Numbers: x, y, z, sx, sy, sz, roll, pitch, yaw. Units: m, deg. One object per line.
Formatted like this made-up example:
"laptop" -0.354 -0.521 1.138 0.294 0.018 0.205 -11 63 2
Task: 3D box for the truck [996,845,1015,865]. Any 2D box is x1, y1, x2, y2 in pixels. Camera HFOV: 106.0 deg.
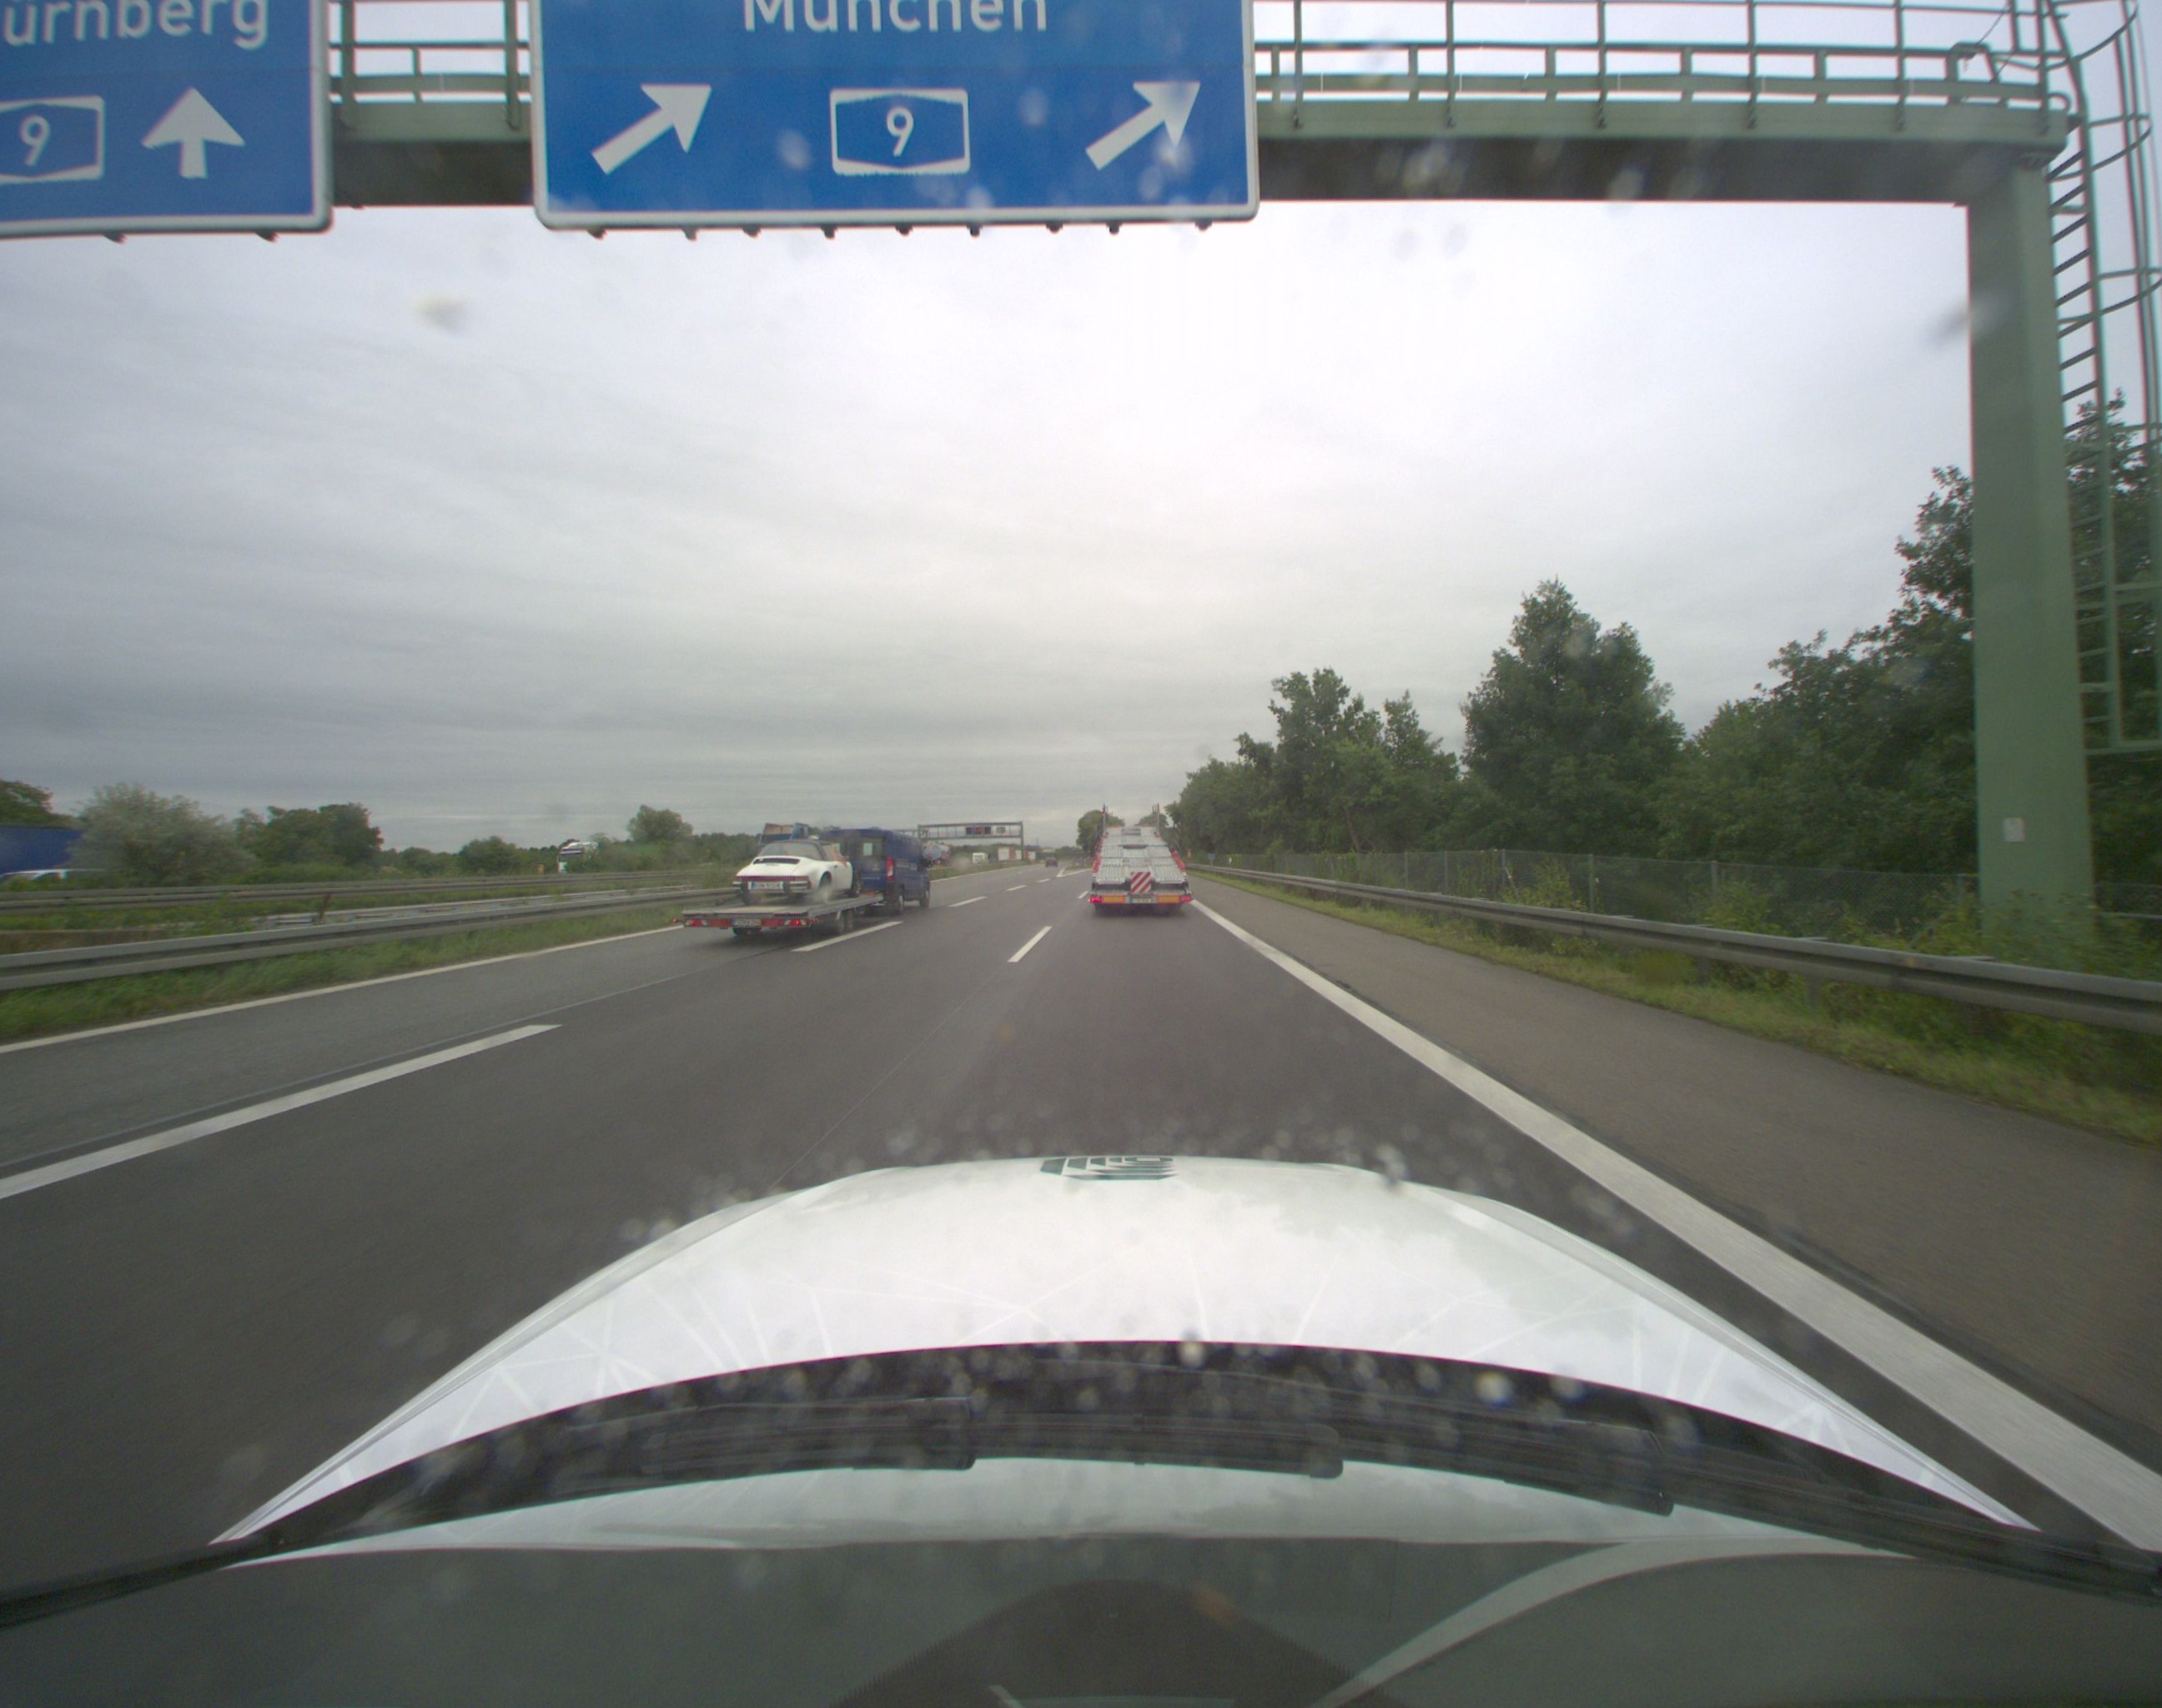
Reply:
"truck" -17.832 0.253 192.833 3.721 4.417 10.193 0 0 0

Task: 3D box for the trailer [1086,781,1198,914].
"trailer" 1.712 -0.155 25.374 2.767 3.285 10.412 0 0 2

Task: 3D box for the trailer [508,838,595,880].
"trailer" -45.769 0.437 70.693 2.951 3.403 7.267 -1 0 -2

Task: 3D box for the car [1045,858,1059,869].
"car" -4.387 1.500 123.235 1.955 1.637 5.624 0 -1 0

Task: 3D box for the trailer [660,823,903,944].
"trailer" -5.752 0.502 17.081 2.477 1.994 7.061 0 0 0

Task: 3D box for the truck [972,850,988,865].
"truck" -18.157 0.659 146.760 2.236 2.704 5.278 0 0 0

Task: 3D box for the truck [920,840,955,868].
"truck" -18.146 0.025 103.365 2.847 3.365 8.629 0 0 0

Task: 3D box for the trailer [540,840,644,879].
"trailer" -45.892 0.499 76.987 2.951 3.403 11.796 -1 0 -2

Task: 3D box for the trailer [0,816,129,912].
"trailer" -45.726 0.417 31.133 2.950 3.925 13.520 -1 0 -1

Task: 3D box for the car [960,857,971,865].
"car" -22.317 1.408 157.028 1.678 1.530 3.996 0 0 -2

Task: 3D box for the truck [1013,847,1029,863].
"truck" -17.629 0.281 239.836 3.721 4.417 11.895 0 0 0

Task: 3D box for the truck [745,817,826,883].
"truck" -18.306 -0.183 50.969 2.631 3.812 7.337 0 -1 -2

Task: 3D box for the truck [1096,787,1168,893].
"truck" 2.083 -0.538 35.238 2.728 3.967 9.133 0 0 2

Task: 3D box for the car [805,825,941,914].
"car" -5.794 0.403 23.706 2.365 2.266 6.255 0 0 0
